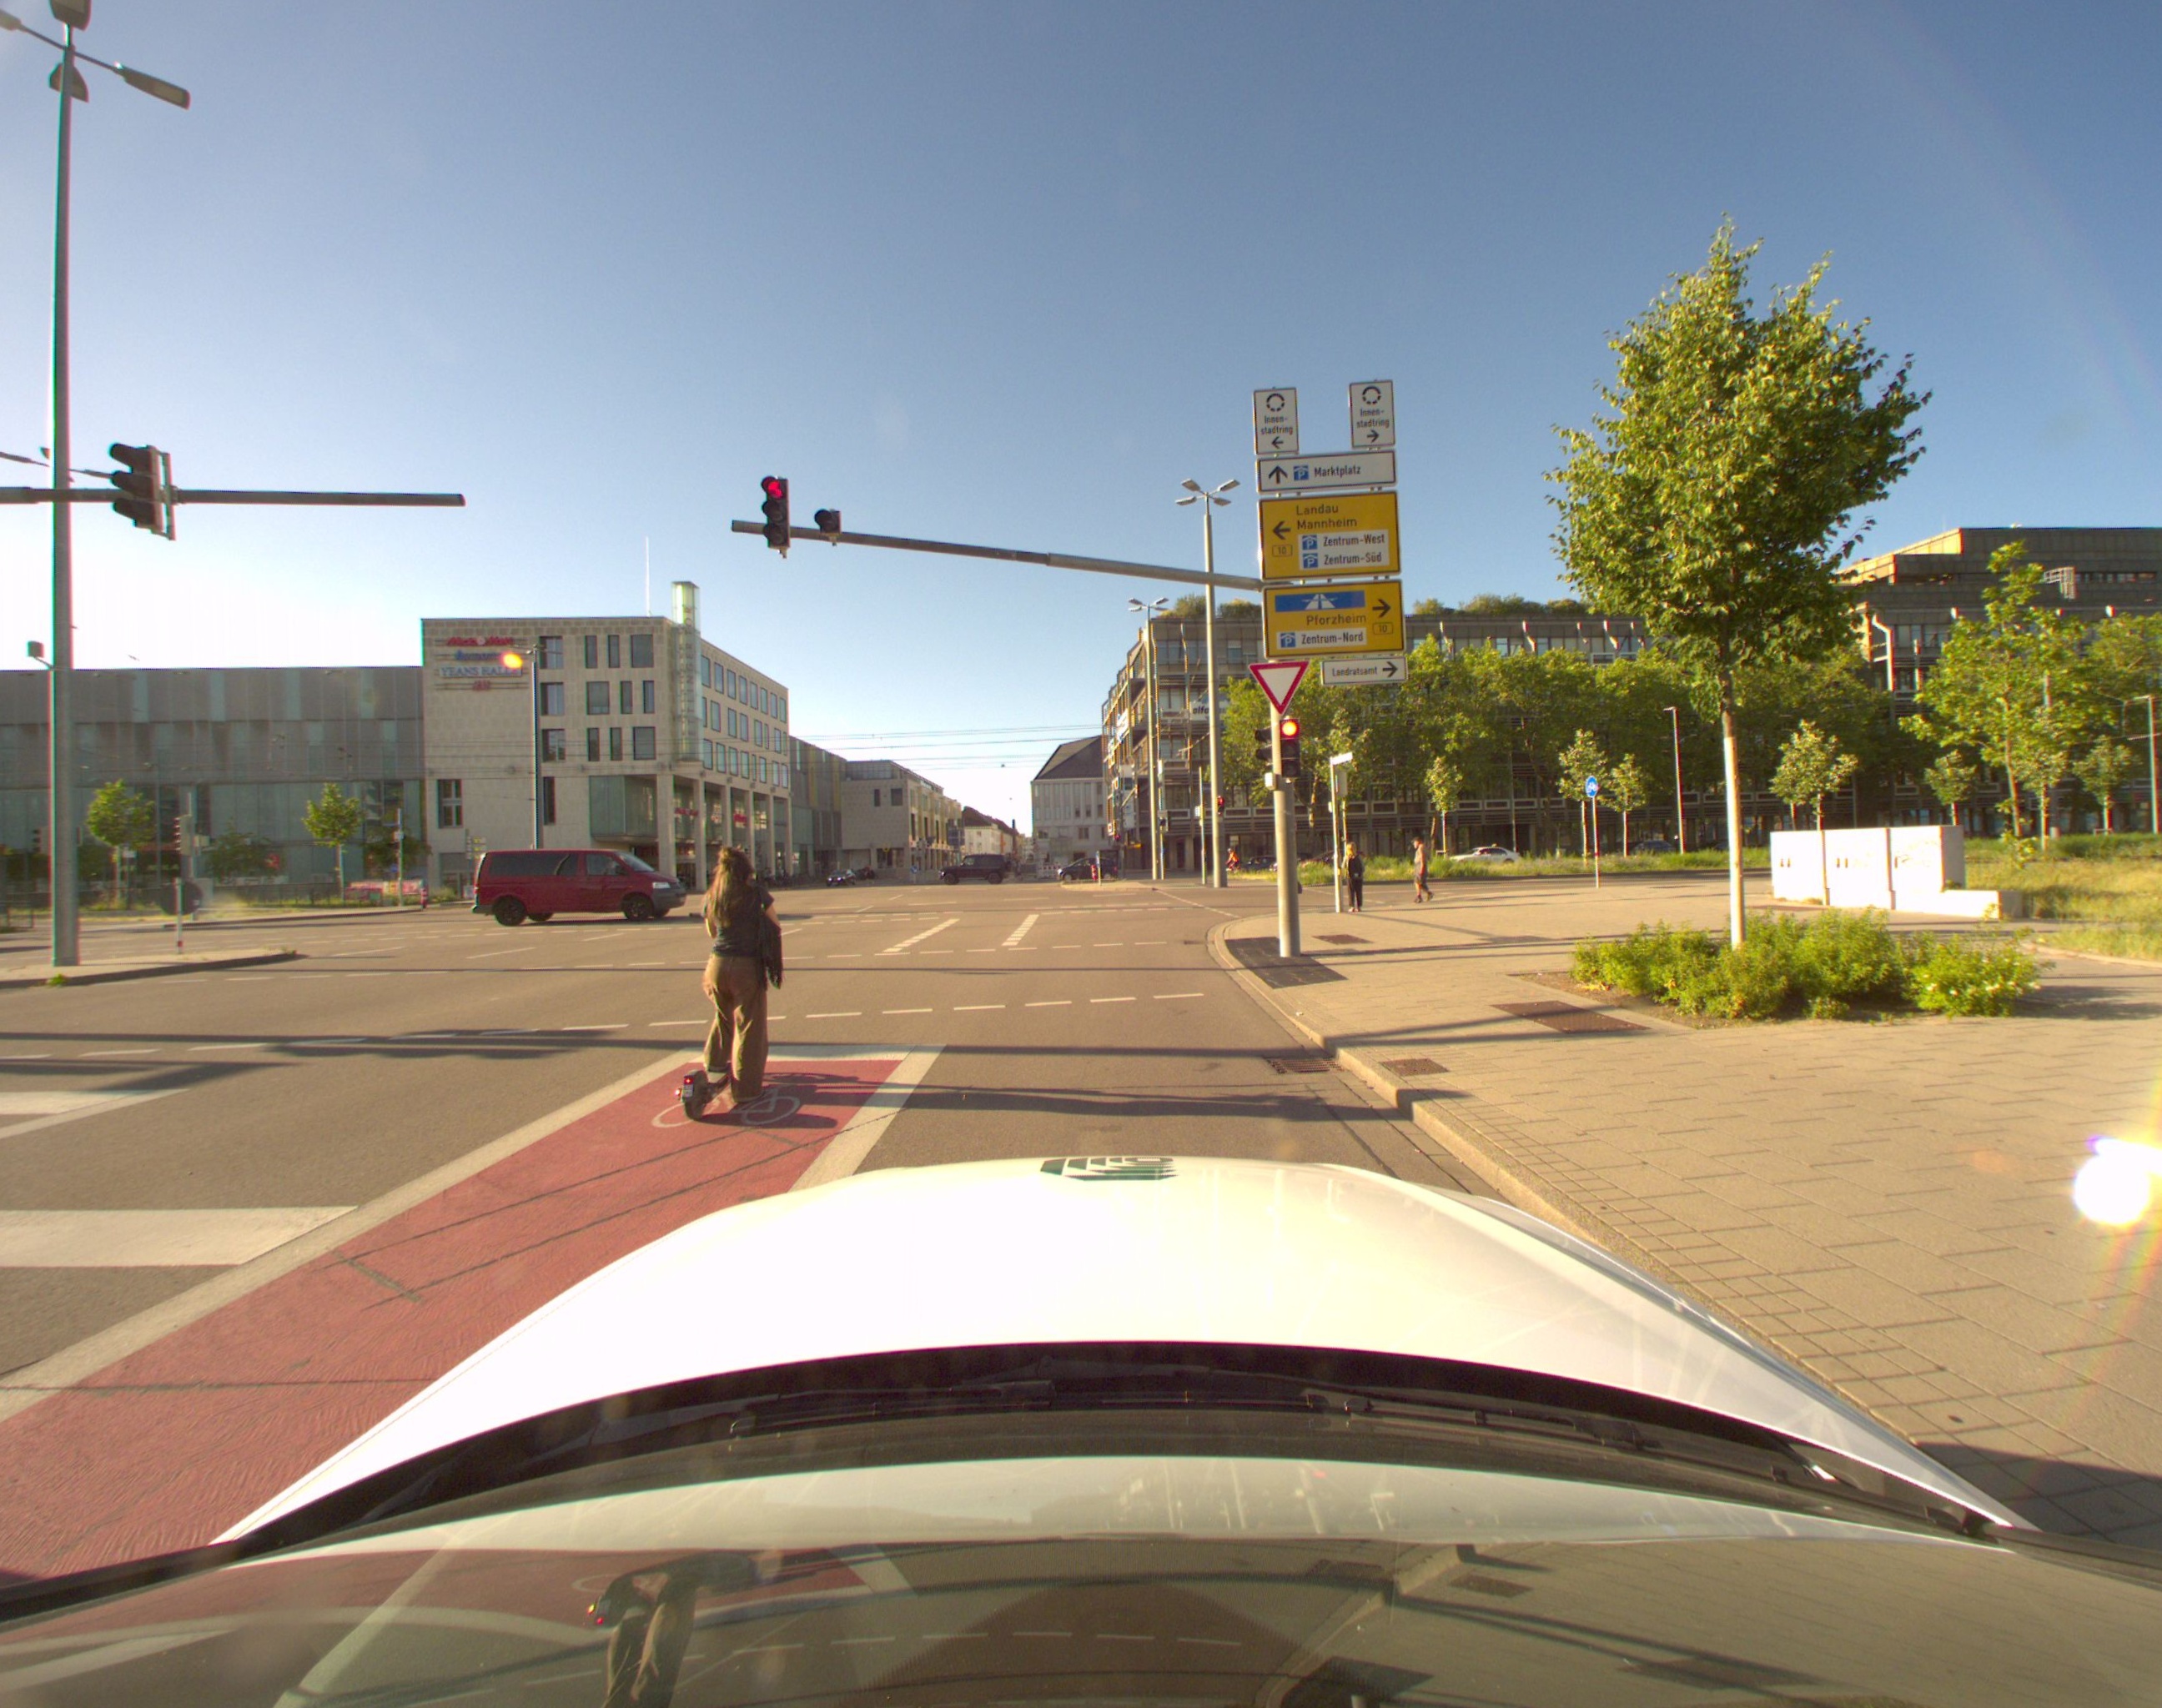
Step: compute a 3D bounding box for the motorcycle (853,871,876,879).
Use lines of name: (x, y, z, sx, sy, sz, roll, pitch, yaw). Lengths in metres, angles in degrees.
motorcycle: (-26.272, 2.532, 98.870, 2.600, 0.993, 1.113, 0, -1, -8)

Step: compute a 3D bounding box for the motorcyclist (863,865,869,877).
motorcyclist: (-26.213, 2.097, 99.184, 0.627, 1.406, 0.661, 0, -1, -7)

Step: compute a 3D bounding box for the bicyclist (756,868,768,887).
bicyclist: (-25.333, 1.866, 64.624, 0.623, 1.448, 0.589, -2, 0, 3)

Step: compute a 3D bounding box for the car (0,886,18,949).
car: (-27.613, 1.581, 18.582, 3.865, 1.510, 1.664, -2, 0, -13)

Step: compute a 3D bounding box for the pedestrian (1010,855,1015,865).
pedestrian: (-13.902, 1.195, 165.255, 0.907, 1.965, 0.823, 0, -1, 1)

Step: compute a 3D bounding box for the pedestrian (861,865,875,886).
pedestrian: (-16.656, 1.679, 63.718, 0.770, 1.638, 0.629, -2, 0, 20)

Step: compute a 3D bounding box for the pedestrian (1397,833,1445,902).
pedestrian: (8.780, 0.344, 21.059, 0.869, 1.706, 0.768, -2, 0, 0)

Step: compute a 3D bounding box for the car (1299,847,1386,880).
car: (14.832, 0.521, 46.255, 4.287, 1.684, 1.820, -2, 0, -9)

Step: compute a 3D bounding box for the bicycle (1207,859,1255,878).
bicycle: (8.674, 0.822, 47.047, 2.561, 0.975, 1.047, -2, 0, -1)

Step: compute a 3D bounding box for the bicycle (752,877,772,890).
bicycle: (-25.294, 2.330, 64.633, 0.633, 0.903, 2.220, -2, 0, 3)

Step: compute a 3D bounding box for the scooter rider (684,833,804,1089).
scooter rider: (-2.125, 0.645, 5.178, 0.552, 1.530, 0.448, -2, 0, -7)

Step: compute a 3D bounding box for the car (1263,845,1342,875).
car: (13.847, 0.388, 50.979, 4.392, 1.684, 1.824, -2, 0, -2)

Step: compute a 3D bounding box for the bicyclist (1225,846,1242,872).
bicyclist: (8.820, 0.309, 47.064, 0.820, 1.474, 0.652, -2, 0, -2)

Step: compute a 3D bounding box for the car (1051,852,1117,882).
car: (0.202, 0.762, 50.055, 3.973, 1.684, 1.761, -2, 0, 0)

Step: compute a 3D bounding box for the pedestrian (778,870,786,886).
pedestrian: (-31.238, 2.494, 85.092, 0.465, 1.729, 0.699, -1, -1, 40)

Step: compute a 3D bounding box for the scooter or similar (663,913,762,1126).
scooter or similar: (-2.202, 0.943, 4.929, 0.306, 1.107, 0.835, -2, 0, -9)

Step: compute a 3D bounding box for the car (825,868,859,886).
car: (-20.690, 1.991, 70.644, 1.670, 1.357, 4.021, -2, 0, 1)

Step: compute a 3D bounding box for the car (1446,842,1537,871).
car: (25.901, 0.149, 51.491, 4.831, 1.684, 1.824, -2, 0, -2)

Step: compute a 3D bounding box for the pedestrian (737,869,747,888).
pedestrian: (-29.959, 2.174, 71.956, 0.590, 1.646, 0.629, -2, 0, 1)

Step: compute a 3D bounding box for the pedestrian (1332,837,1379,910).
pedestrian: (6.370, 0.441, 18.927, 0.763, 1.614, 0.874, -2, 0, 0)

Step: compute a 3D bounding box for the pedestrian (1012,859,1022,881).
pedestrian: (-5.044, 1.284, 64.195, 0.697, 1.688, 0.620, -2, 0, 2)

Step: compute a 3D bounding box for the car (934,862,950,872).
car: (-20.912, 1.962, 122.702, 1.652, 1.458, 3.543, -2, 0, 2)

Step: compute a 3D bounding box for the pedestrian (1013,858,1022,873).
pedestrian: (-7.493, 1.365, 96.052, 0.896, 1.782, 0.809, -2, 0, 1)

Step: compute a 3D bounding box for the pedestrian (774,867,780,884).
pedestrian: (-32.639, 2.300, 87.437, 0.465, 1.729, 0.524, -1, -1, 40)

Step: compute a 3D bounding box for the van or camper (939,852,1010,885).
van or camper: (-6.911, 0.936, 53.306, 4.404, 2.013, 1.993, -2, 0, -3)

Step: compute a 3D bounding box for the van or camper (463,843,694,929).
van or camper: (-13.320, 0.810, 21.929, 4.830, 2.013, 1.999, -2, 0, -12)

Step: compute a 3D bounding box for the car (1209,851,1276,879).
car: (10.606, 0.697, 53.696, 3.976, 1.684, 1.824, -2, 0, -2)
